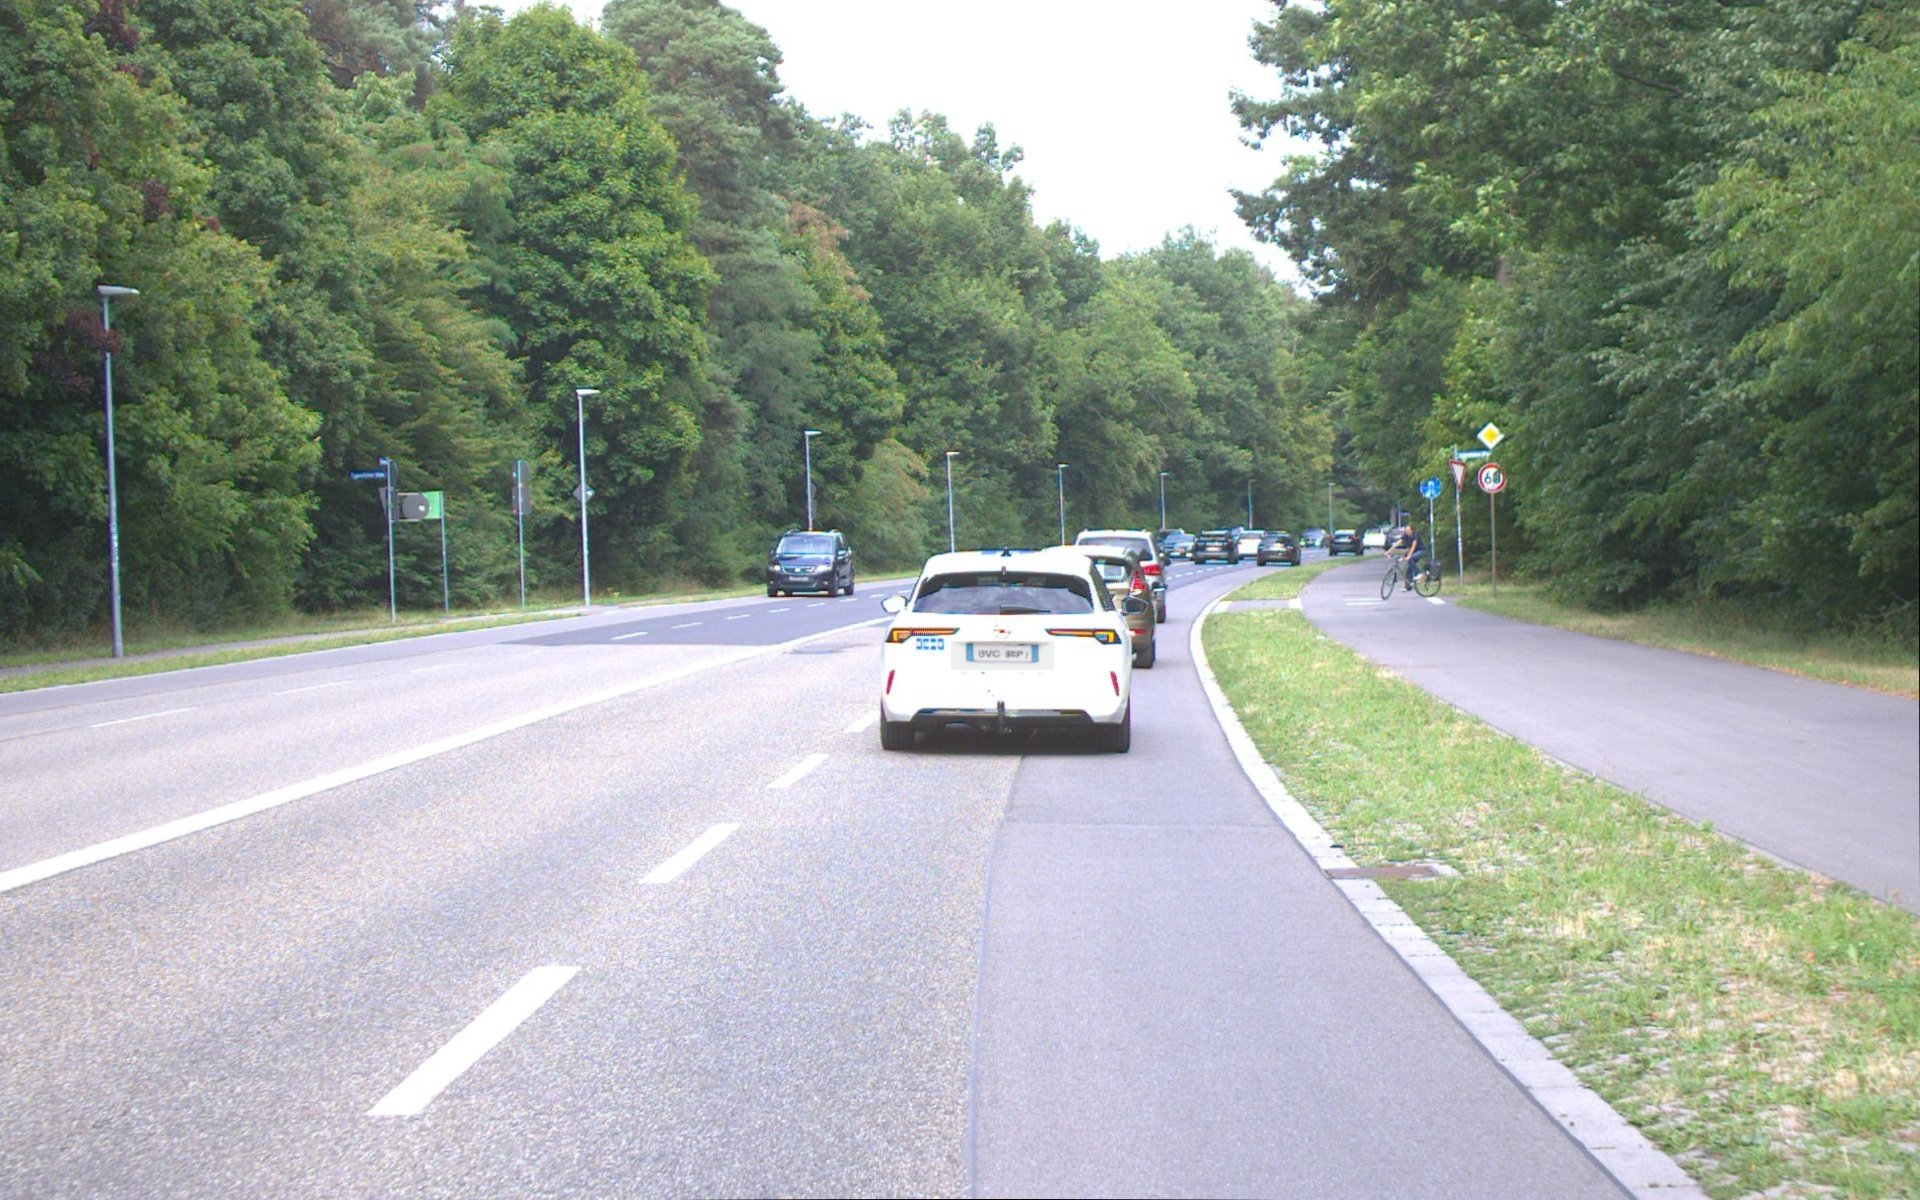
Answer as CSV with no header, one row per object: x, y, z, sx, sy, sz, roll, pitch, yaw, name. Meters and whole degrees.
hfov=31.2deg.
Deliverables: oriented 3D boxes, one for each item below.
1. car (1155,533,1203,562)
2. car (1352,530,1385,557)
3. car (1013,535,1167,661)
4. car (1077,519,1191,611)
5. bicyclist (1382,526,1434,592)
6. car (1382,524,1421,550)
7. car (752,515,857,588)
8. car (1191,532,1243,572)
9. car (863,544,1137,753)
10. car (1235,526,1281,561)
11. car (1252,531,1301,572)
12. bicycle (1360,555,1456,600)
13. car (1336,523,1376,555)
11.363,-2.698,178.203,1.994,1.430,4.719,0,0,10,car
29.398,-4.055,247.434,1.889,1.809,3.998,2,0,13,car
1.629,-0.032,41.925,1.635,1.415,3.999,2,0,5,car
3.205,-0.634,63.526,1.994,1.601,4.000,2,0,3,car
10.089,-0.926,77.419,0.898,1.465,0.711,-1,1,-32,bicyclist
30.018,-4.302,233.675,1.995,1.700,3.997,0,1,16,car
-4.022,-1.233,89.494,1.994,1.785,4.746,2,0,6,car
12.247,-2.287,163.866,1.994,1.777,3.998,2,0,10,car
0.384,0.307,25.551,1.836,1.405,4.490,0,1,3,car
15.742,-2.972,181.580,1.994,1.777,3.998,2,0,10,car
14.564,-2.208,158.105,1.994,1.777,3.998,2,0,9,car
10.099,-0.520,77.436,2.174,0.990,0.711,-1,1,-32,bicycle
23.492,-3.597,203.870,1.994,1.777,3.998,2,0,11,car
